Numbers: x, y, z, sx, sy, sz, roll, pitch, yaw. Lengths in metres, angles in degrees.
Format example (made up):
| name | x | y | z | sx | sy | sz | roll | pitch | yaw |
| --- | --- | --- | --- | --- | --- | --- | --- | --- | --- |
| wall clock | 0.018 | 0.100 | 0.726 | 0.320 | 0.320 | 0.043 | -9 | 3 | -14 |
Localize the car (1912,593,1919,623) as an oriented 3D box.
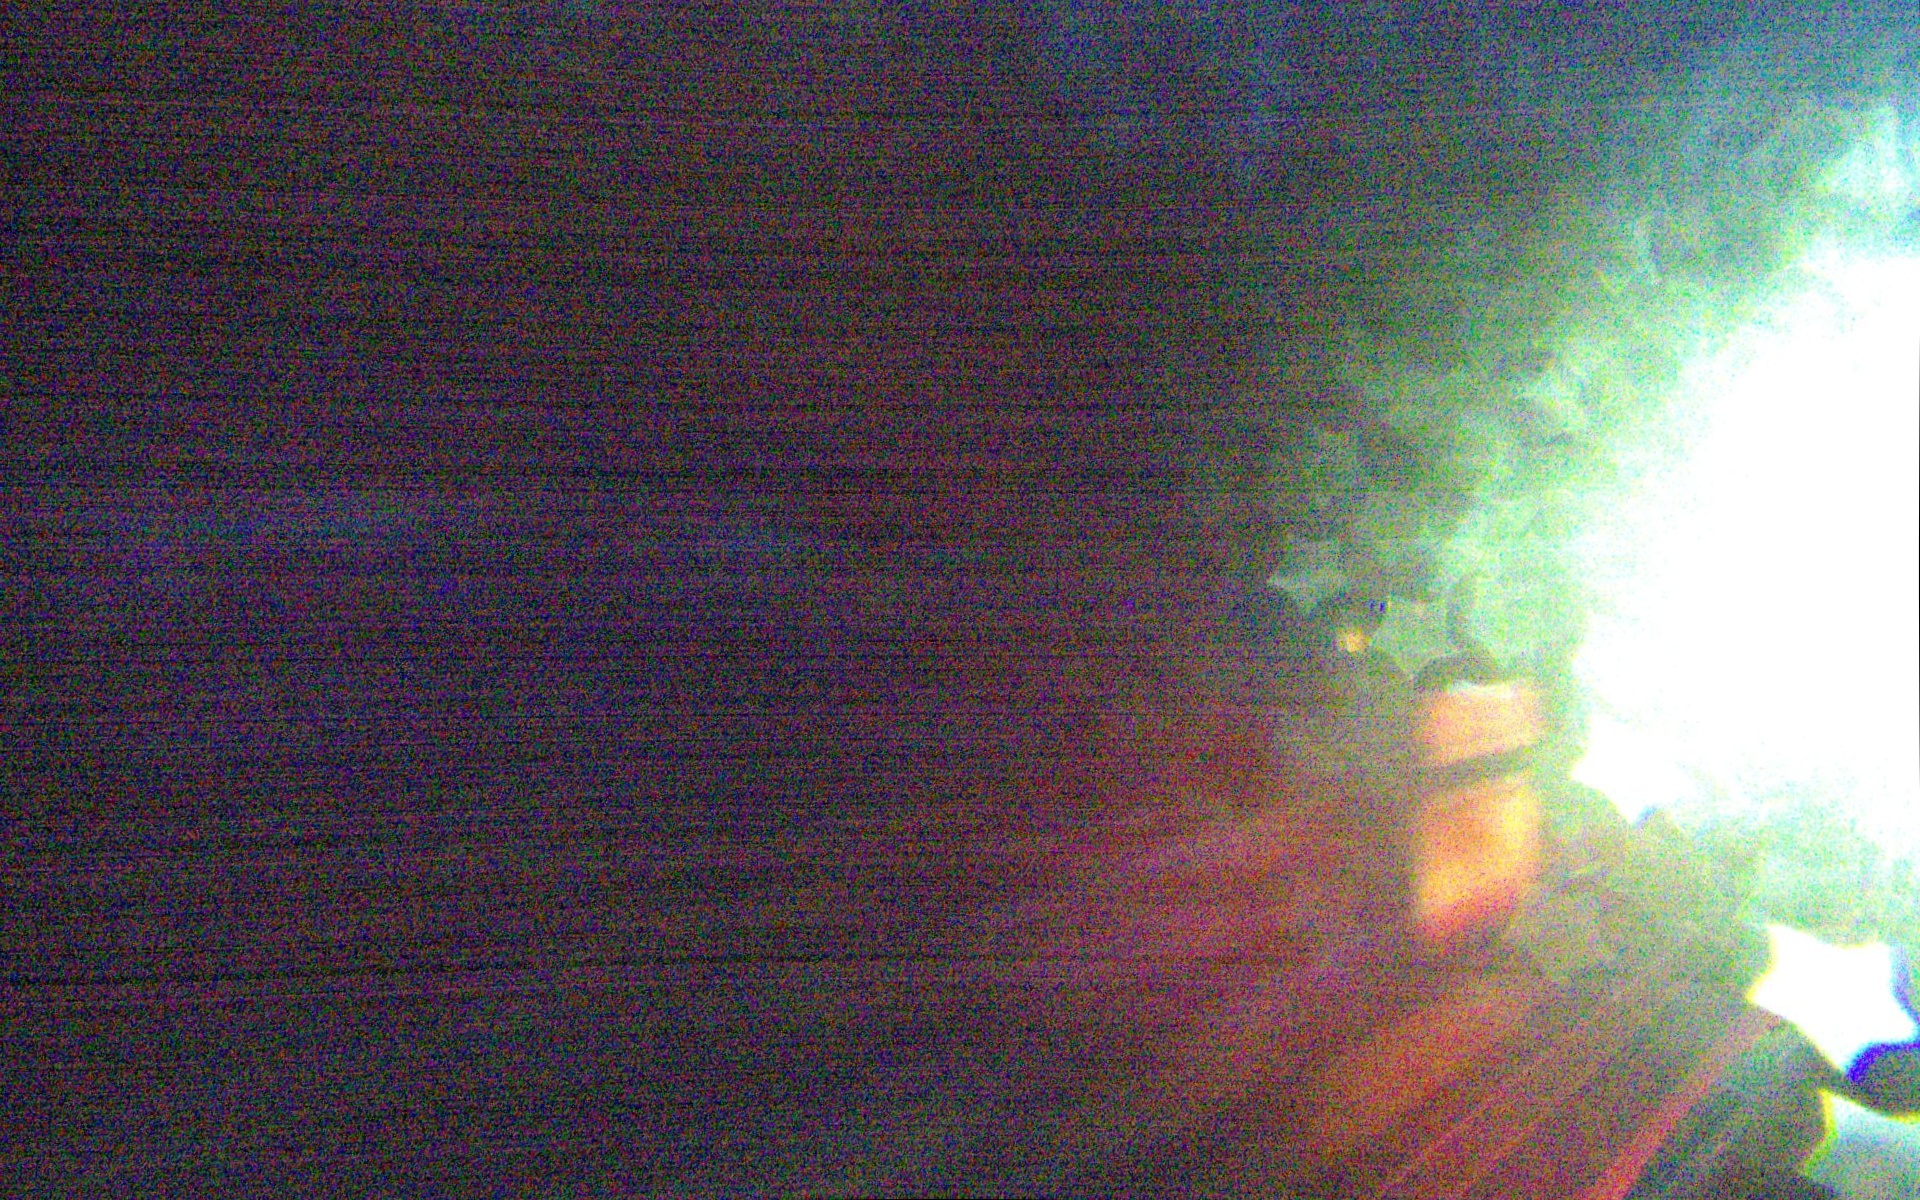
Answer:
| name | x | y | z | sx | sy | sz | roll | pitch | yaw |
| --- | --- | --- | --- | --- | --- | --- | --- | --- | --- |
| car | 59.147 | 0.633 | 61.168 | 3.934 | 1.754 | 1.997 | 2 | 5 | -45 |
